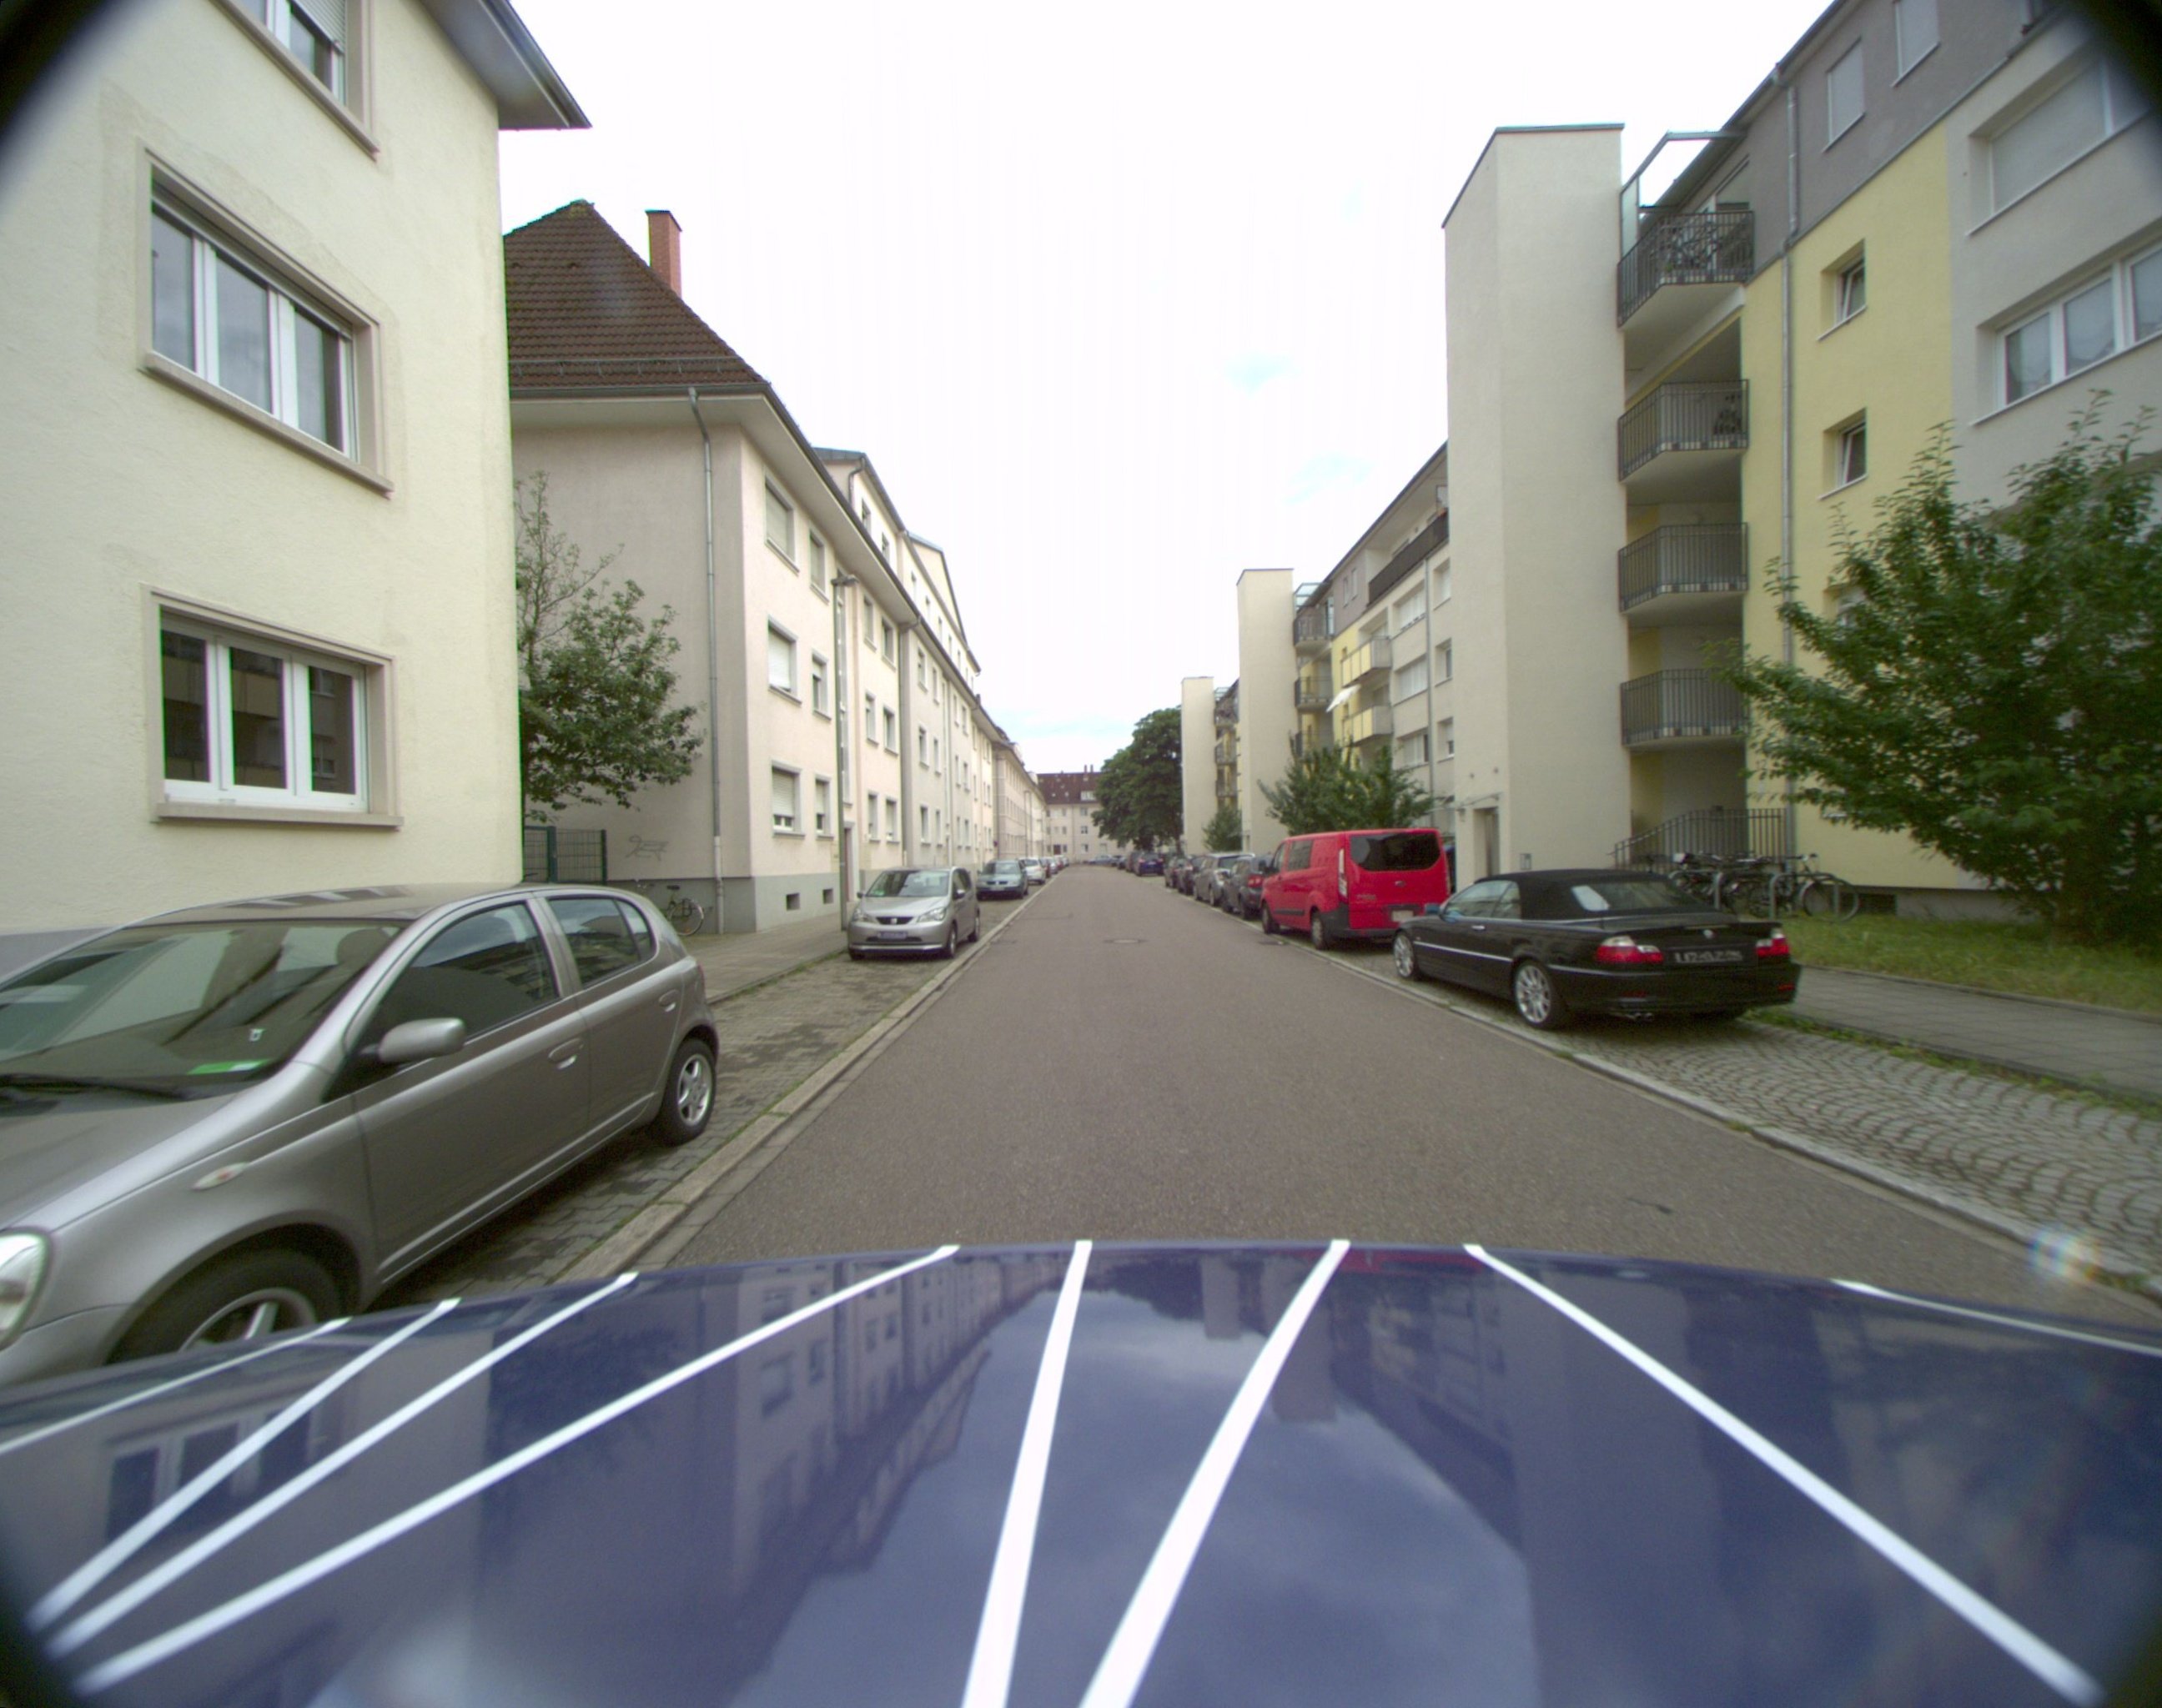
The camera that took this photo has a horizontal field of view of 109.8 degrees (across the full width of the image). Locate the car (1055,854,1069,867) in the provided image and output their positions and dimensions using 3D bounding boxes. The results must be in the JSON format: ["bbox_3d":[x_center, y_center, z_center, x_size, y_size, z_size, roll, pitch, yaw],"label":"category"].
[{"bbox_3d":[-2.468,0.809,99.243,1.764,1.595,3.956,-1,0,0],"label":"car"}]

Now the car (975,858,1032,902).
[{"bbox_3d":[-2.888,0.934,29.120,1.729,1.460,4.264,-1,0,0],"label":"car"}]

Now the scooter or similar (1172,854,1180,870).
[{"bbox_3d":[7.640,0.653,61.006,0.438,1.236,1.135,-1,0,0],"label":"scooter or similar"}]

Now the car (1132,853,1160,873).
[{"bbox_3d":[5.110,0.709,59.871,1.625,1.437,3.818,-3,0,-3],"label":"car"}]

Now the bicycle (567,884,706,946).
[{"bbox_3d":[-8.424,1.146,14.449,2.213,1.070,0.648,-2,1,-1],"label":"bicycle"}]

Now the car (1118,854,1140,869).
[{"bbox_3d":[5.075,0.754,81.308,1.919,1.431,4.433,-3,0,-1],"label":"car"}]

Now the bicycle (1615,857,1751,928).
[{"bbox_3d":[10.335,0.645,13.074,1.839,1.112,0.605,-2,1,-1],"label":"bicycle"}]

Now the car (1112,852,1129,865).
[{"bbox_3d":[5.261,0.598,101.308,2.000,1.566,4.209,-3,0,1],"label":"car"}]

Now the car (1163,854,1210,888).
[{"bbox_3d":[4.910,0.768,35.832,1.647,1.430,3.856,-3,0,0],"label":"car"}]

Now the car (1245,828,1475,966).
[{"bbox_3d":[4.736,0.637,13.866,2.157,1.942,4.920,-3,0,-2],"label":"car"}]

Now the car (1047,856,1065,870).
[{"bbox_3d":[-2.719,1.004,82.751,1.758,1.477,3.773,0,0,0],"label":"car"}]

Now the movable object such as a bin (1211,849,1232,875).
[{"bbox_3d":[8.461,0.454,45.754,1.004,1.492,1.314,-2,1,1],"label":"movable object such as a bin"}]

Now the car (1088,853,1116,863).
[{"bbox_3d":[3.463,0.657,124.593,4.546,1.551,1.565,-1,1,4],"label":"car"}]

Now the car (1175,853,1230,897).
[{"bbox_3d":[4.755,0.778,30.224,1.657,1.521,3.895,-3,0,2],"label":"car"}]

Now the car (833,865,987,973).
[{"bbox_3d":[-2.786,0.997,13.277,1.729,1.483,4.060,-2,0,0],"label":"car"}]

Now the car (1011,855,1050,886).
[{"bbox_3d":[-2.735,0.879,41.747,1.788,1.590,3.805,-1,0,1],"label":"car"}]

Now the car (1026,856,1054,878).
[{"bbox_3d":[-2.850,0.897,53.664,1.758,1.401,3.936,-1,0,0],"label":"car"}]

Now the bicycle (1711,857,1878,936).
[{"bbox_3d":[10.684,0.632,11.424,1.838,1.112,0.570,-2,0,6],"label":"bicycle"}]

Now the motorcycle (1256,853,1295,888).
[{"bbox_3d":[7.771,0.645,30.468,0.871,1.299,2.420,-3,0,0],"label":"motorcycle"}]

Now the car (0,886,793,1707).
[{"bbox_3d":[-2.945,1.009,3.492,1.729,1.508,4.060,-1,0,-1],"label":"car"}]

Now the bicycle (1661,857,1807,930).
[{"bbox_3d":[10.633,0.630,12.400,1.839,1.112,0.570,-2,1,2],"label":"bicycle"}]

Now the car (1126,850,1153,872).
[{"bbox_3d":[5.027,0.587,66.280,1.891,1.844,4.785,-1,0,-1],"label":"car"}]

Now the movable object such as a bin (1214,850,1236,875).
[{"bbox_3d":[8.431,0.490,44.414,1.004,1.438,1.314,-2,1,1],"label":"movable object such as a bin"}]

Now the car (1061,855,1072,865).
[{"bbox_3d":[-2.114,0.887,110.195,1.563,1.334,3.788,-1,0,0],"label":"car"}]

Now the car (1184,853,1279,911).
[{"bbox_3d":[4.696,0.801,24.423,1.839,1.561,4.860,-3,0,-2],"label":"car"}]

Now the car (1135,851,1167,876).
[{"bbox_3d":[4.916,0.623,53.948,1.804,1.617,4.472,-3,0,0],"label":"car"}]

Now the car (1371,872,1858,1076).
[{"bbox_3d":[4.817,0.944,7.843,1.875,1.316,4.361,-3,0,-1],"label":"car"}]

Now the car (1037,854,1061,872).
[{"bbox_3d":[-2.668,0.706,63.659,1.792,1.455,4.040,-1,0,0],"label":"car"}]

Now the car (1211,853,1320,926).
[{"bbox_3d":[4.571,0.803,19.401,1.725,1.561,4.054,-3,0,0],"label":"car"}]
